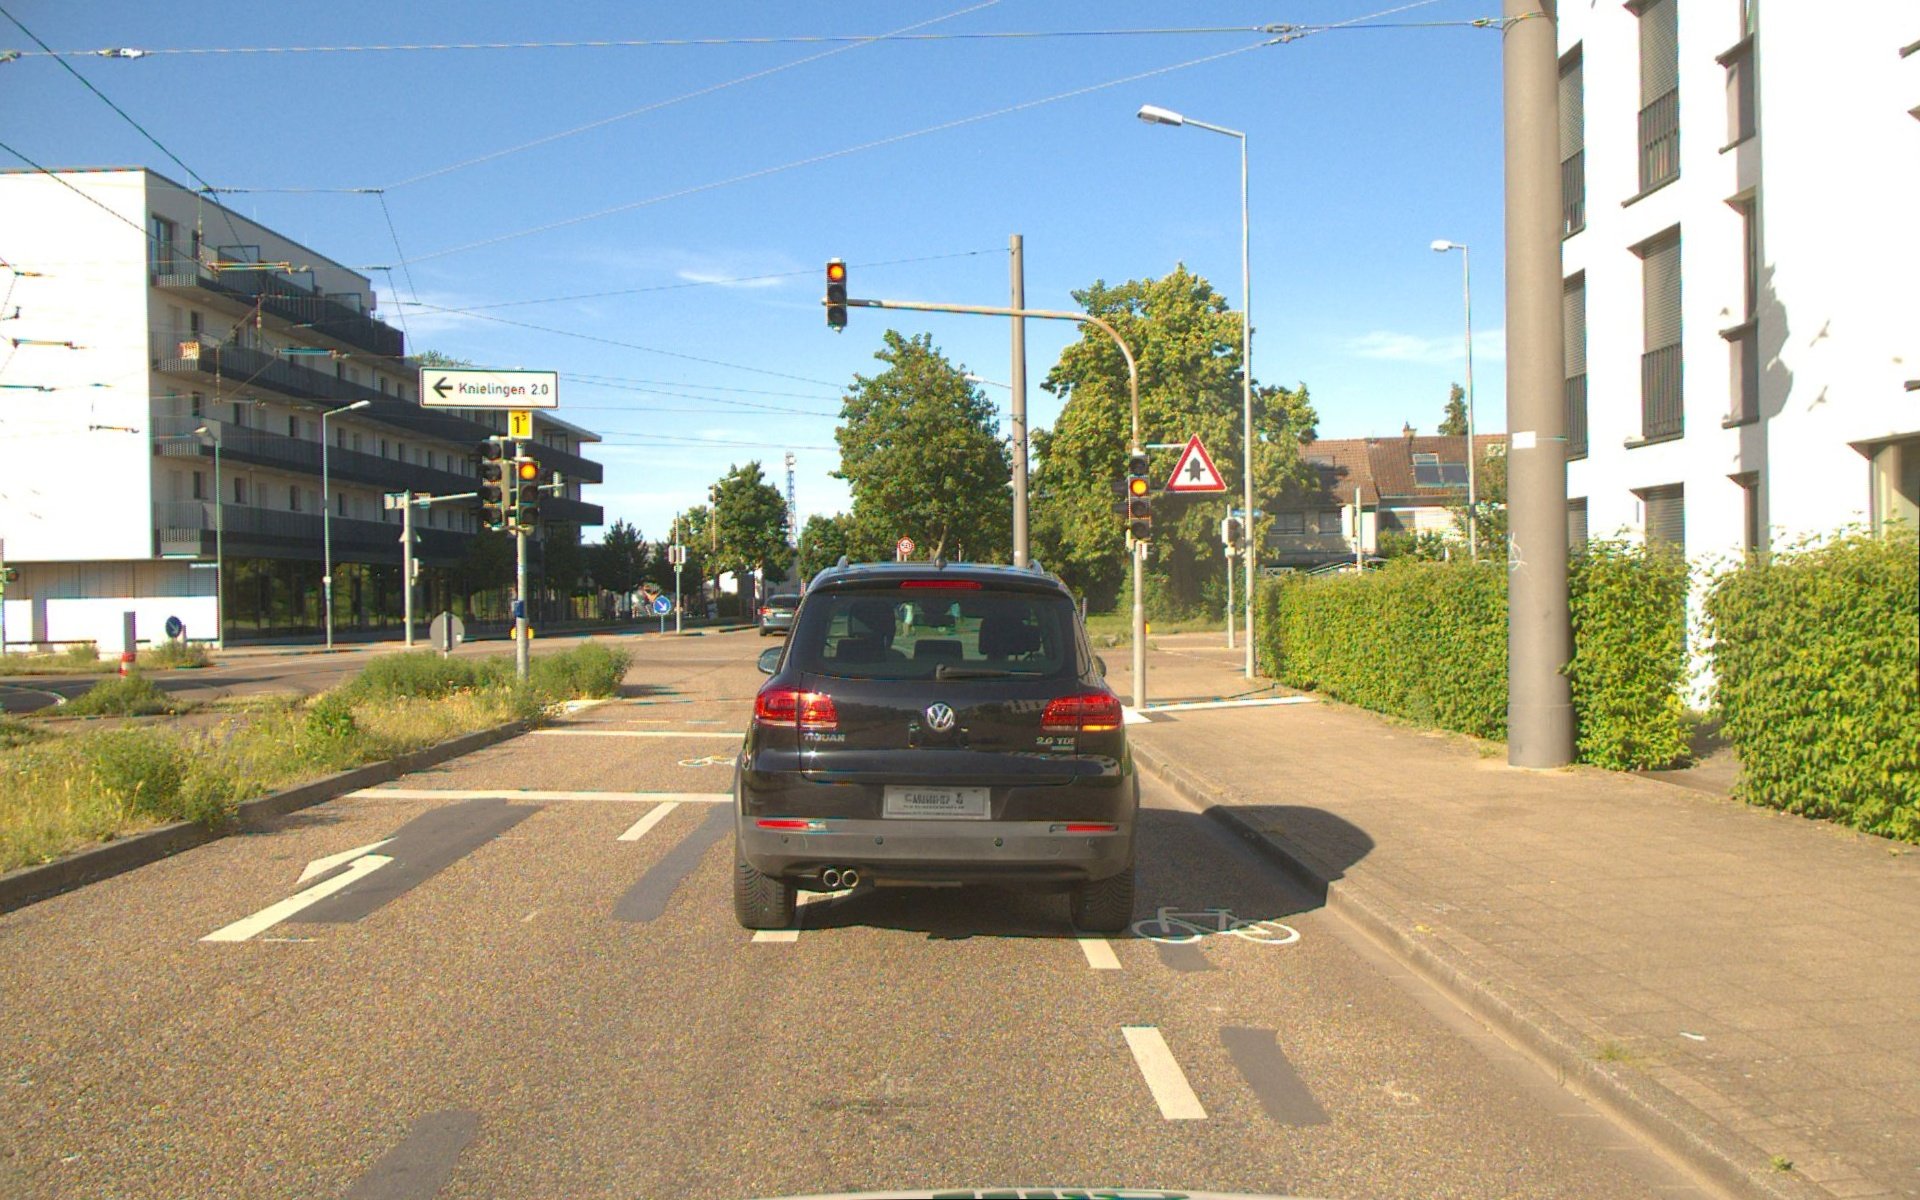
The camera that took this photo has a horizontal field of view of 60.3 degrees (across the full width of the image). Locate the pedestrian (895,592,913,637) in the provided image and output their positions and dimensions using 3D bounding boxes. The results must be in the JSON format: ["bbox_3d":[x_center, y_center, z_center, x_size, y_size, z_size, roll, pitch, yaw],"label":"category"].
[{"bbox_3d":[-2.090,0.534,61.828,0.590,1.668,0.529,0,0,3],"label":"pedestrian"}]

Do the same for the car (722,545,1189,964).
[{"bbox_3d":[-0.088,0.608,8.636,1.867,1.671,3.998,0,0,-2],"label":"car"}]

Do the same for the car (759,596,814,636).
[{"bbox_3d":[-6.276,0.556,60.014,1.716,1.411,3.998,0,0,-2],"label":"car"}]

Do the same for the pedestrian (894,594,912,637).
[{"bbox_3d":[-2.118,0.569,61.322,0.590,1.592,0.529,0,0,3],"label":"pedestrian"}]
